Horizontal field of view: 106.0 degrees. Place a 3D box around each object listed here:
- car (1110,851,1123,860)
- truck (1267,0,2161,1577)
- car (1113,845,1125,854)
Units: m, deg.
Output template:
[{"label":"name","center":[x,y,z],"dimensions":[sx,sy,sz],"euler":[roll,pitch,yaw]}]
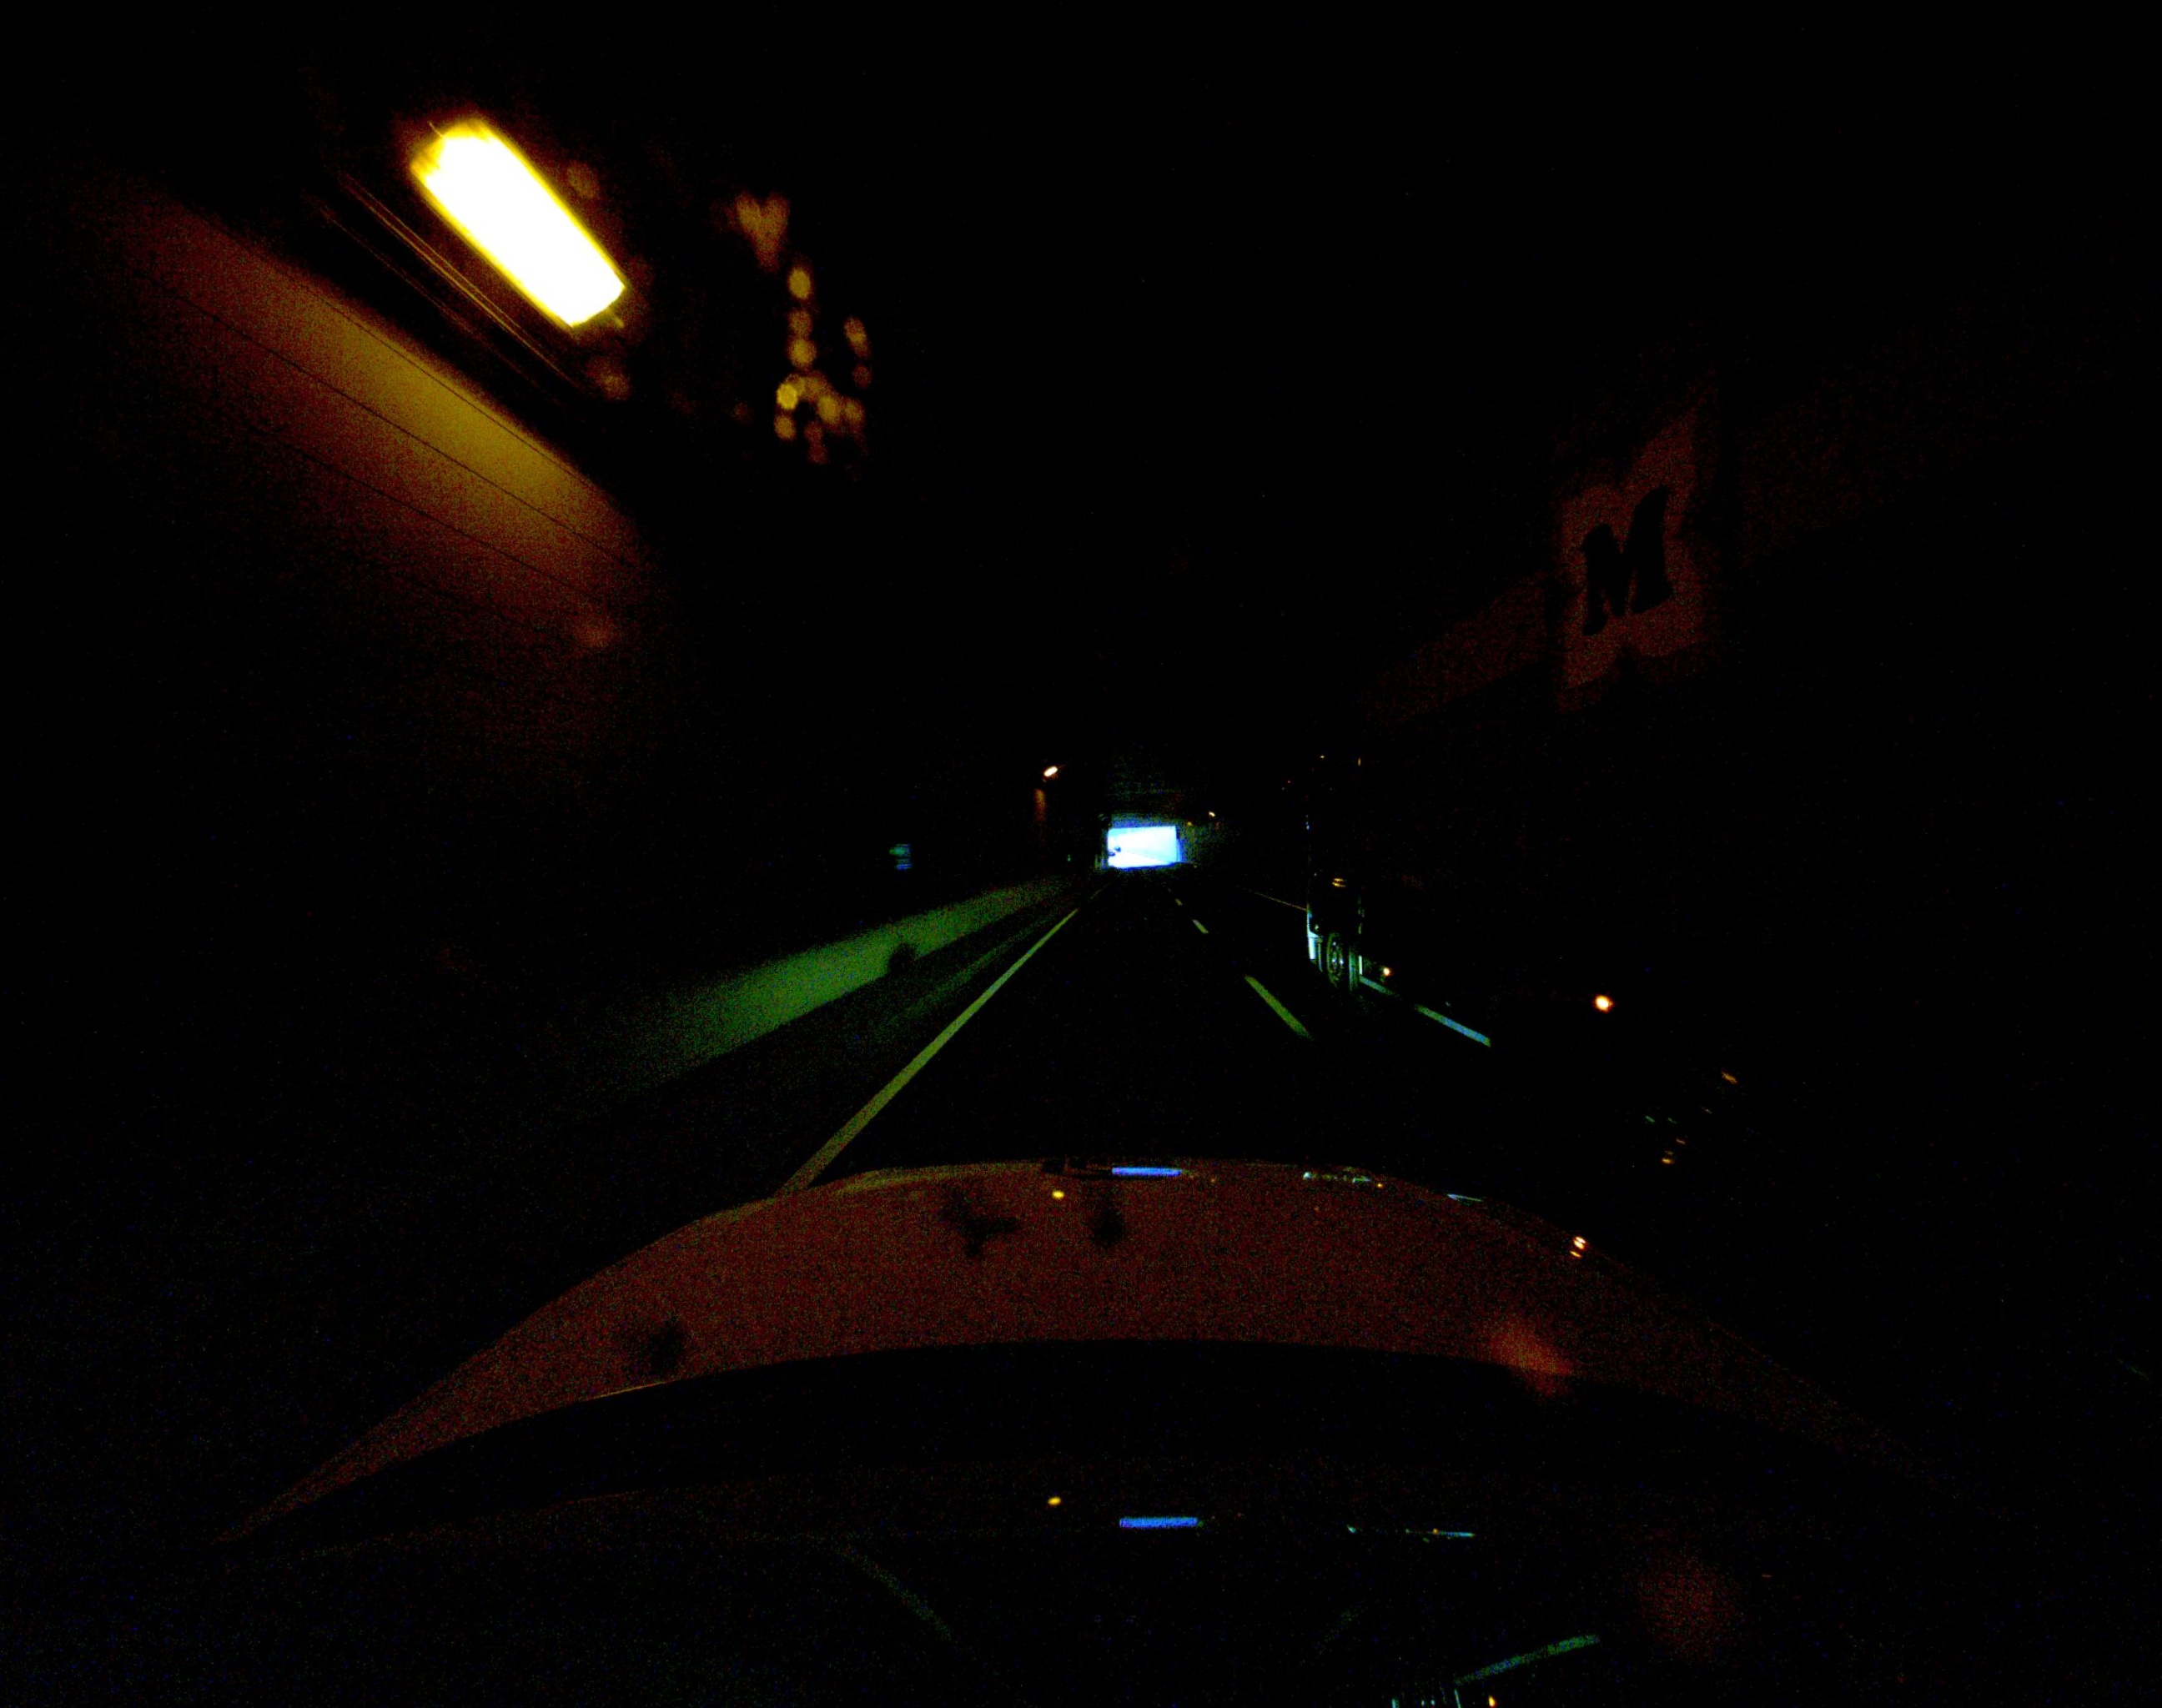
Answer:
[{"label":"car","center":[6.119,0.306,141.077],"dimensions":[1.838,1.388,3.993],"euler":[-2,-1,-5]},{"label":"truck","center":[3.537,-0.598,4.363],"dimensions":[2.878,3.913,9.911],"euler":[-2,0,1]},{"label":"car","center":[7.242,-0.843,155.808],"dimensions":[1.865,1.732,3.996],"euler":[-2,-1,-3]}]
